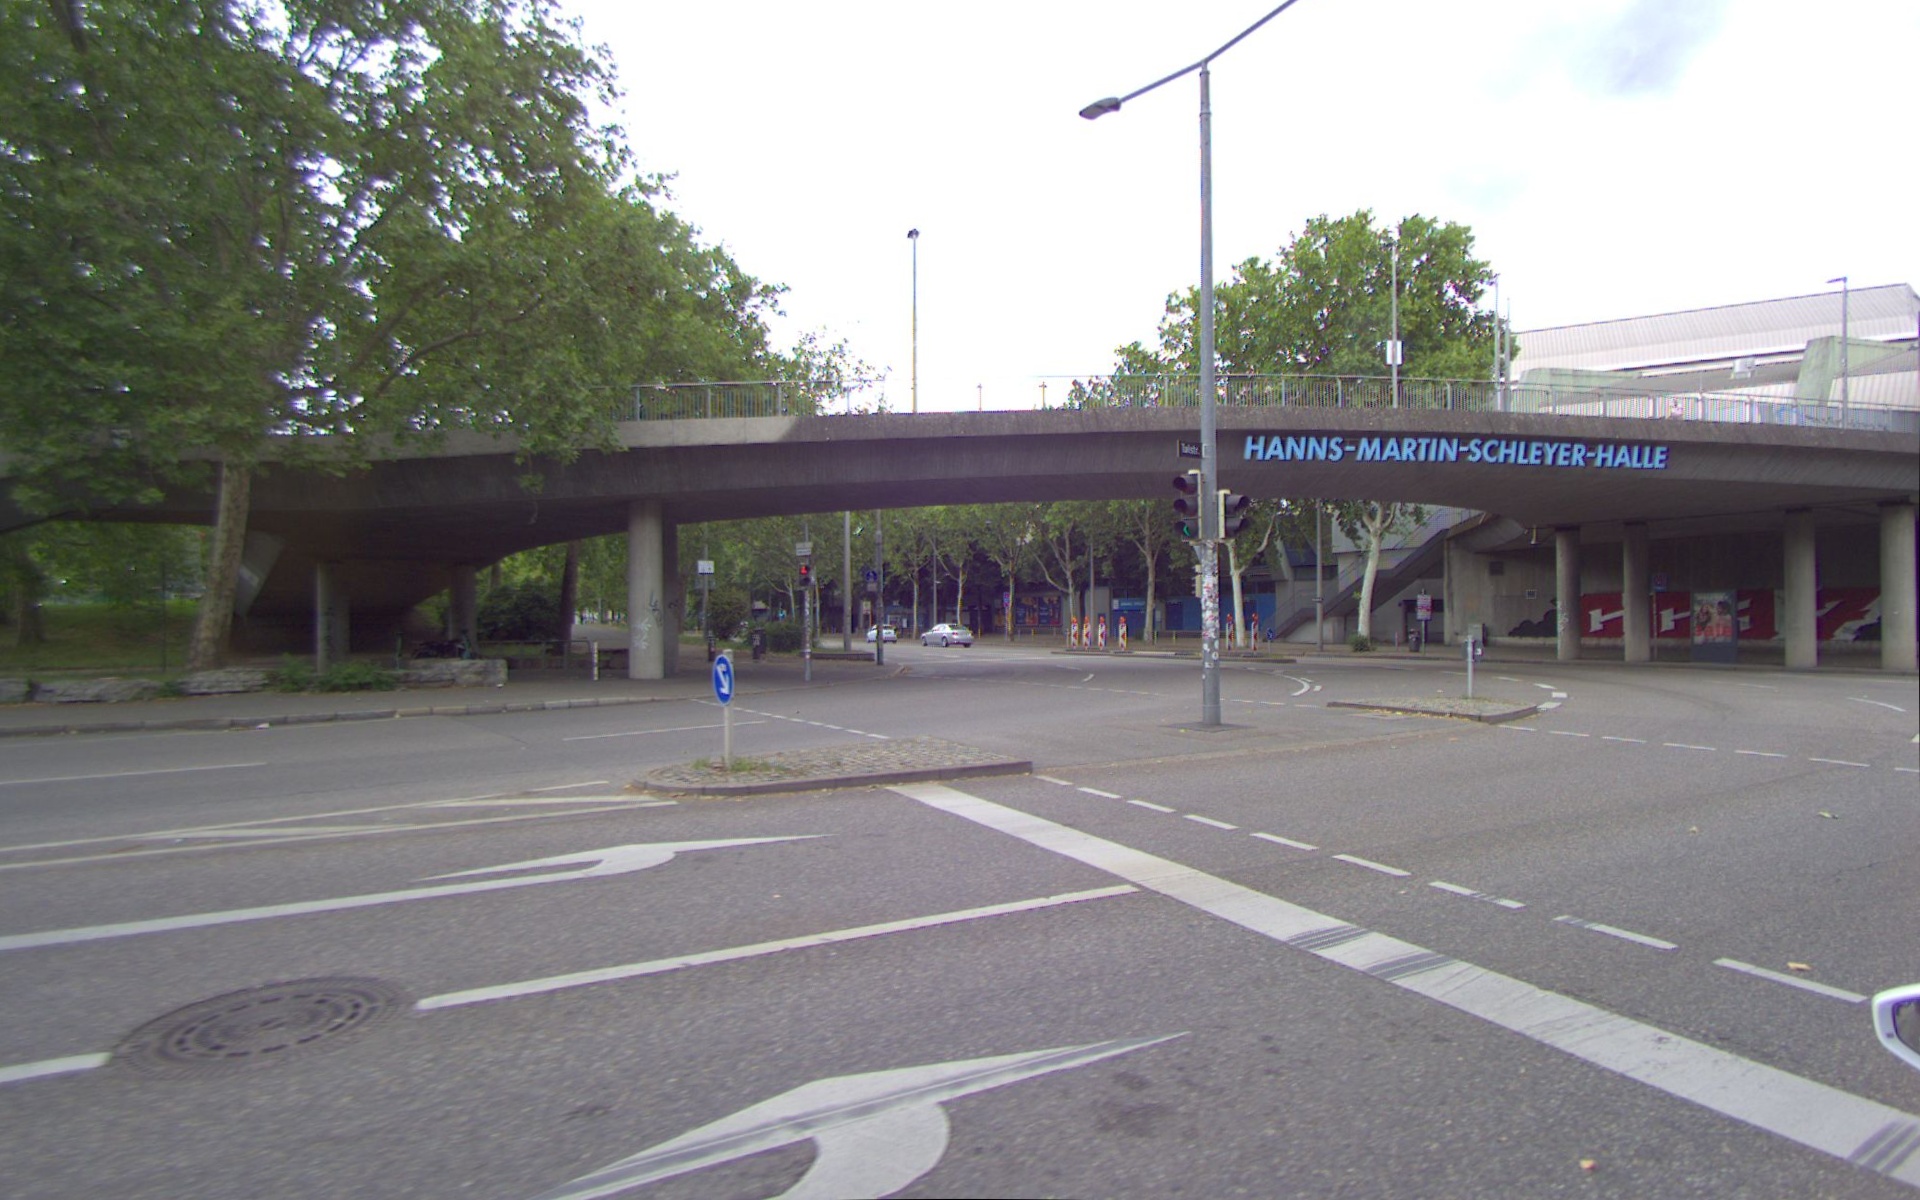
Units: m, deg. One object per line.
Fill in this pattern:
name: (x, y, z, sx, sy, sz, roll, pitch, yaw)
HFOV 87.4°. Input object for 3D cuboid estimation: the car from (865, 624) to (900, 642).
car: (-6.241, 2.644, 80.813, 1.596, 1.330, 3.369, 1, -1, -29)

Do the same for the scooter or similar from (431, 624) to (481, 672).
scooter or similar: (-14.534, 1.387, 28.963, 1.214, 1.336, 0.414, 3, -3, -31)

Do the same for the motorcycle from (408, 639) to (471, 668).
motorcycle: (-16.255, 1.662, 31.425, 1.714, 0.862, 0.646, 1, -1, -25)

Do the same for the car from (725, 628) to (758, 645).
car: (-23.360, 3.881, 107.209, 1.981, 1.682, 3.959, 1, -1, -36)

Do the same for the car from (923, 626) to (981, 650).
car: (-0.528, 2.377, 63.859, 1.977, 1.437, 3.966, 1, -1, -31)
